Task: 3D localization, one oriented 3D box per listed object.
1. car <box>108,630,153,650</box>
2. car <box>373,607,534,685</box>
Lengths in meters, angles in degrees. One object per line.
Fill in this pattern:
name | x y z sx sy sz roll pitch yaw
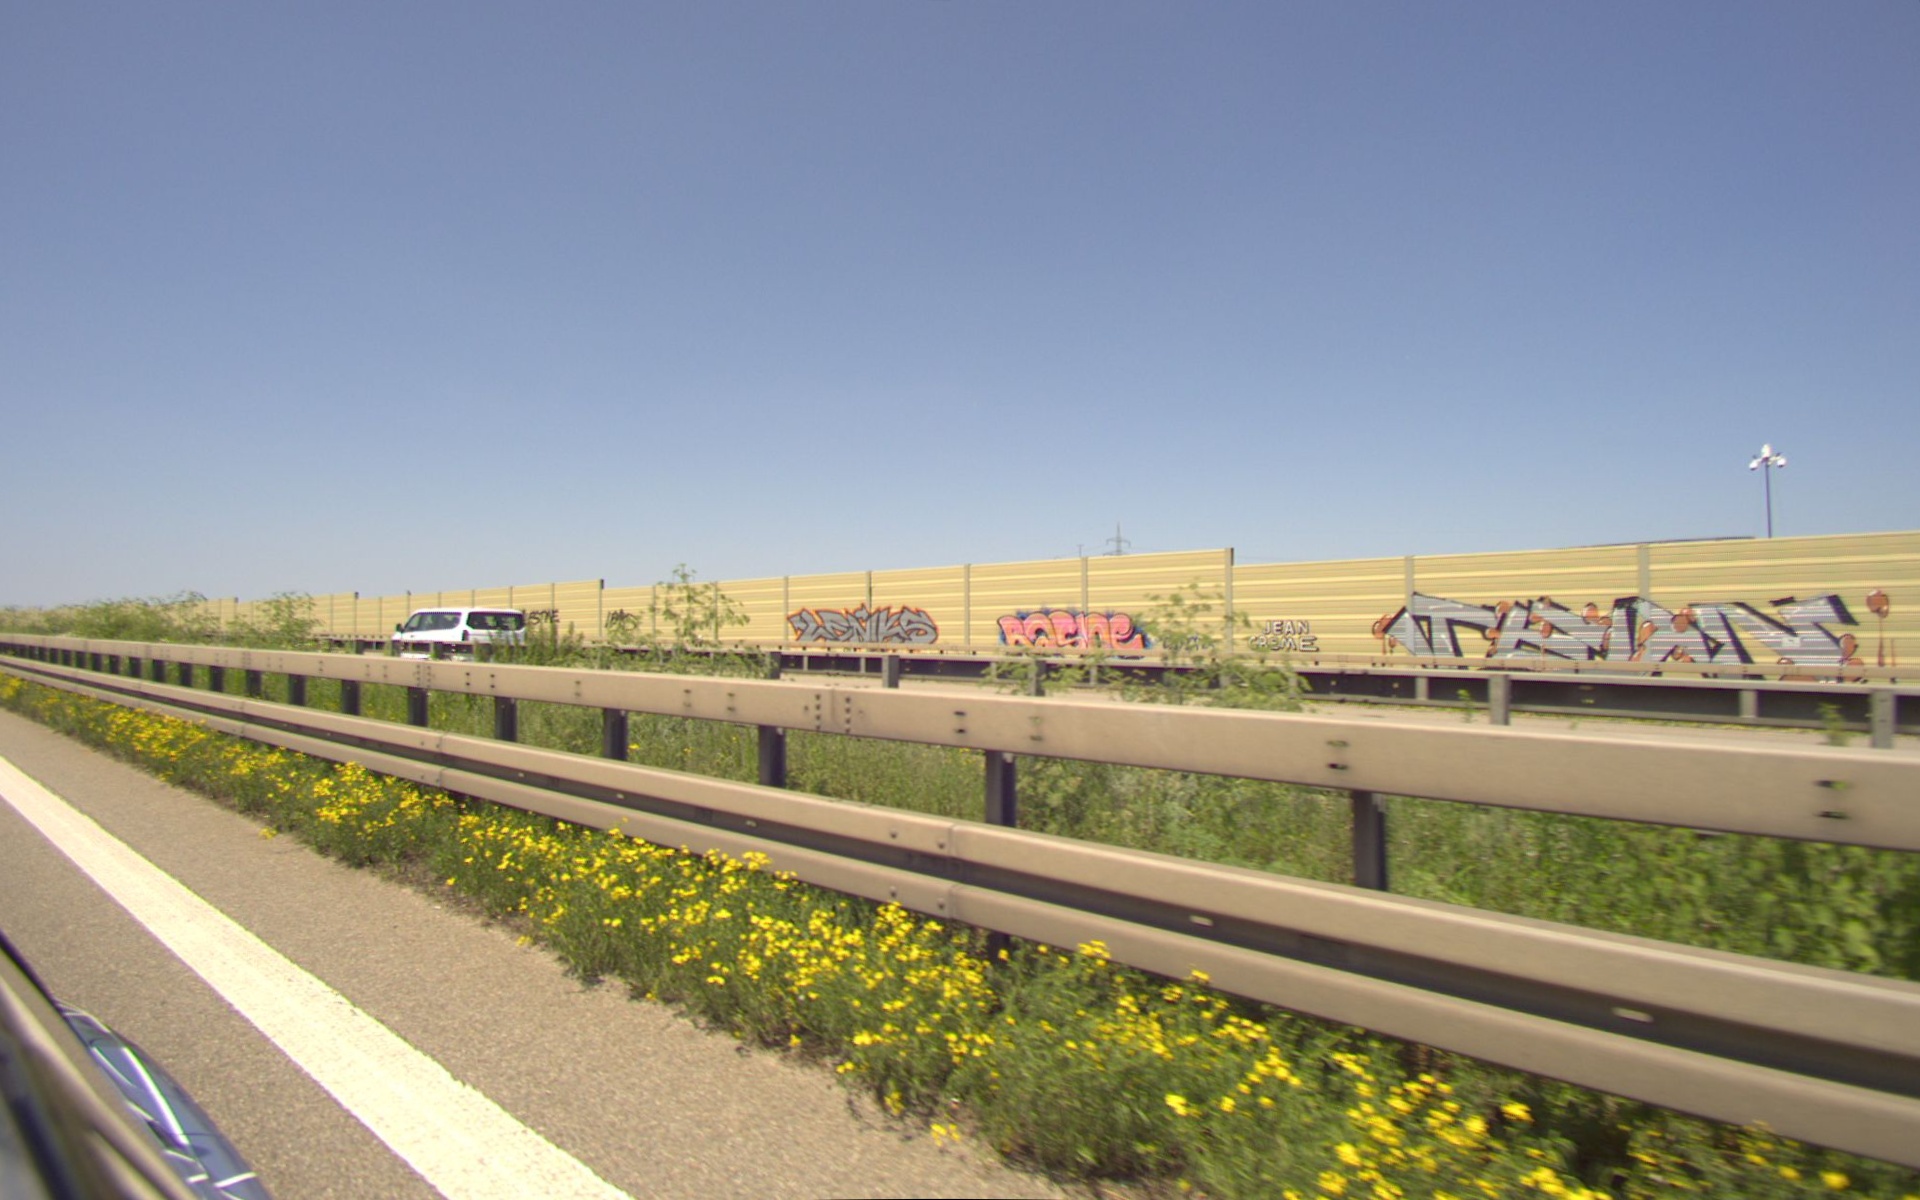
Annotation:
car | -62.886 3.007 76.704 3.997 1.431 1.973 -1 0 40
car | -14.532 1.224 28.869 5.910 1.976 1.973 -1 0 41
